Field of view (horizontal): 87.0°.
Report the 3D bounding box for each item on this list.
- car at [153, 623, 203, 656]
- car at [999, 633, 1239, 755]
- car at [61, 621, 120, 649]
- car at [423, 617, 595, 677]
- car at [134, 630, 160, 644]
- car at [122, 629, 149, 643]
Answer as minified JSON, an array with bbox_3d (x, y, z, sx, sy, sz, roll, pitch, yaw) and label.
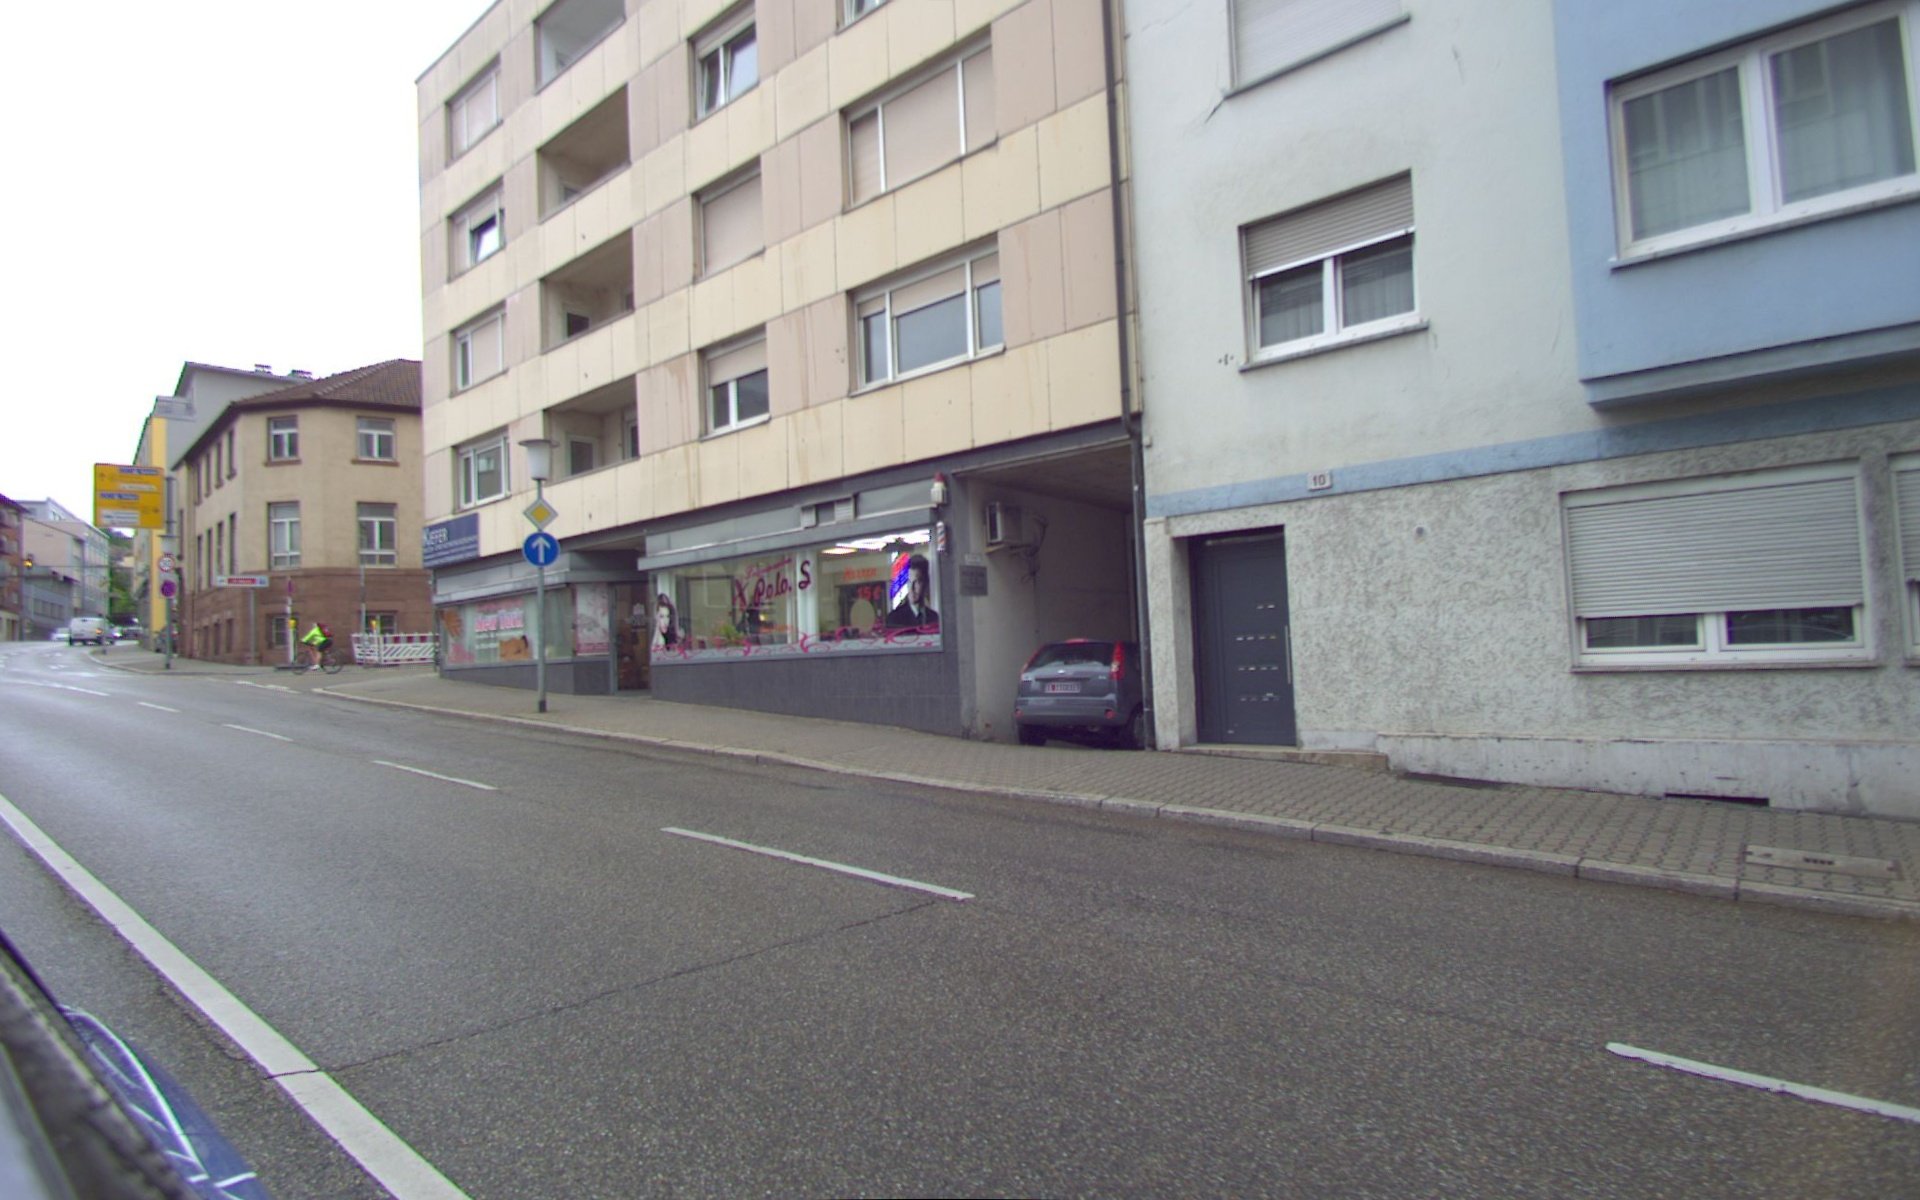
[{"bbox_3d":[-39.300,1.987,50.849,1.834,1.465,3.970,-3,1,-39],"label":"car"},{"bbox_3d":[2.272,1.353,13.564,1.674,1.361,3.954,-3,-9,33],"label":"car"},{"bbox_3d":[-59.572,2.398,69.388,1.835,1.817,4.280,1,-2,-24],"label":"car"},{"bbox_3d":[-13.257,1.326,29.869,4.296,1.515,1.757,-1,-1,-39],"label":"car"},{"bbox_3d":[-87.204,3.938,108.573,1.832,1.465,4.329,1,-2,-35],"label":"car"},{"bbox_3d":[-91.323,3.948,112.149,1.832,1.465,4.330,1,-2,-33],"label":"car"}]
